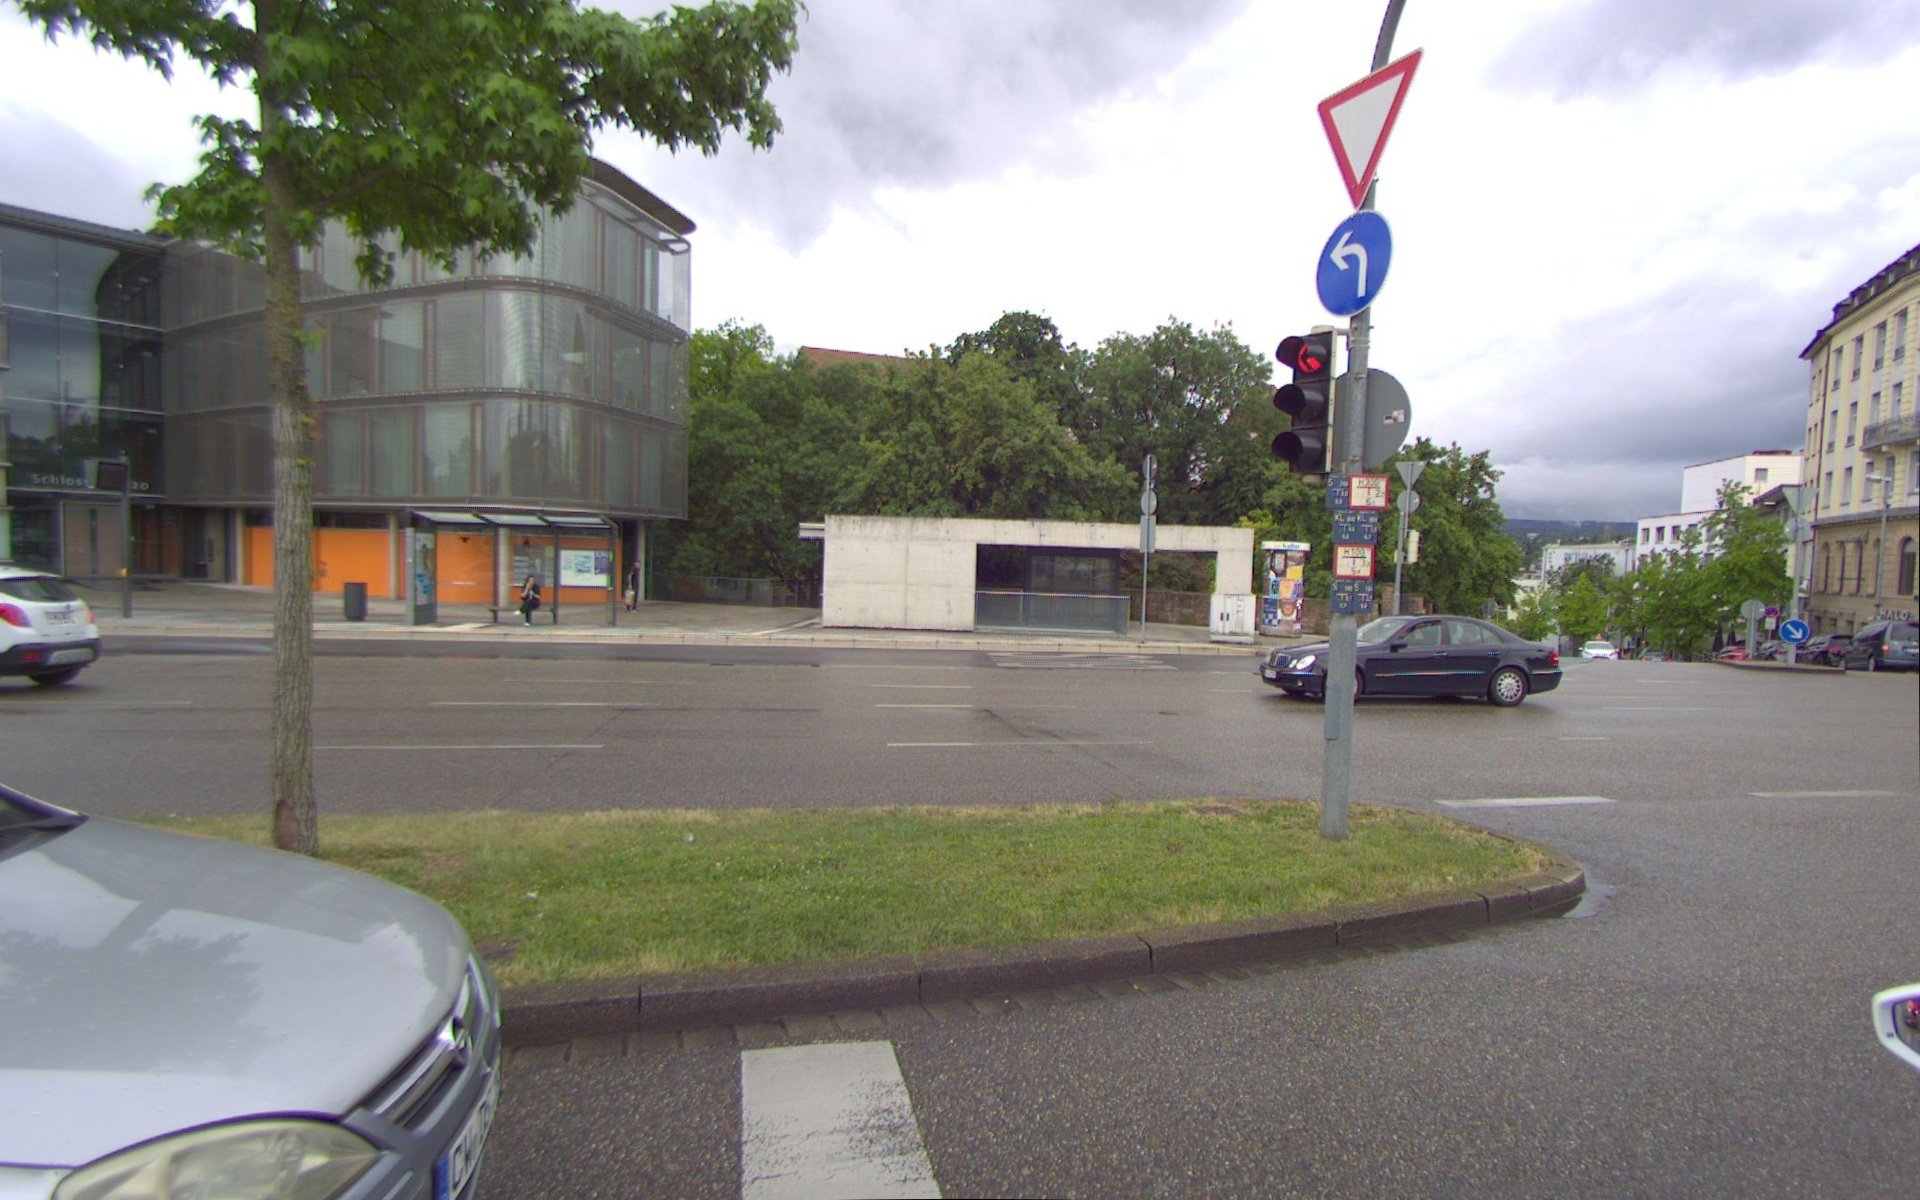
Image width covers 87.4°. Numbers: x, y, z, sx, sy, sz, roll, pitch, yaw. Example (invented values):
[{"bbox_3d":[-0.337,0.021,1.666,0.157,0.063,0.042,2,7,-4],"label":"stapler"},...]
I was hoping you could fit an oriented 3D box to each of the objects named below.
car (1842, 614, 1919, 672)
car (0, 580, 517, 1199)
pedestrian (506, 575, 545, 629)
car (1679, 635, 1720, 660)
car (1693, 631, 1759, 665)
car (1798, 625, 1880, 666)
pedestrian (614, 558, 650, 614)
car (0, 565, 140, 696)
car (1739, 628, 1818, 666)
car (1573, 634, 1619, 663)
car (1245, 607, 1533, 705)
[{"bbox_3d":[32.107,1.442,34.677,1.605,1.783,3.993,1,1,28],"label":"car"},{"bbox_3d":[-2.811,0.678,1.468,3.656,1.485,1.696,2,0,-13],"label":"car"},{"bbox_3d":[-10.866,0.043,25.124,0.706,1.316,0.668,1,0,-6],"label":"pedestrian"},{"bbox_3d":[50.274,3.204,68.301,1.738,1.498,3.993,2,0,30],"label":"car"},{"bbox_3d":[39.032,2.414,51.271,1.736,1.498,4.008,2,0,24],"label":"car"},{"bbox_3d":[35.206,1.786,40.338,1.605,1.417,3.993,1,1,28],"label":"car"},{"bbox_3d":[-10.646,-0.439,32.615,0.809,1.779,0.786,1,0,11],"label":"pedestrian"},{"bbox_3d":[-13.837,0.336,13.297,4.133,1.639,1.958,2,0,-11],"label":"car"},{"bbox_3d":[36.927,2.091,45.428,1.736,1.498,3.998,2,0,24],"label":"car"},{"bbox_3d":[35.755,2.700,56.544,1.604,1.417,3.997,2,0,25],"label":"car"},{"bbox_3d":[7.001,0.890,16.651,3.925,1.441,1.960,2,0,-7],"label":"car"}]
